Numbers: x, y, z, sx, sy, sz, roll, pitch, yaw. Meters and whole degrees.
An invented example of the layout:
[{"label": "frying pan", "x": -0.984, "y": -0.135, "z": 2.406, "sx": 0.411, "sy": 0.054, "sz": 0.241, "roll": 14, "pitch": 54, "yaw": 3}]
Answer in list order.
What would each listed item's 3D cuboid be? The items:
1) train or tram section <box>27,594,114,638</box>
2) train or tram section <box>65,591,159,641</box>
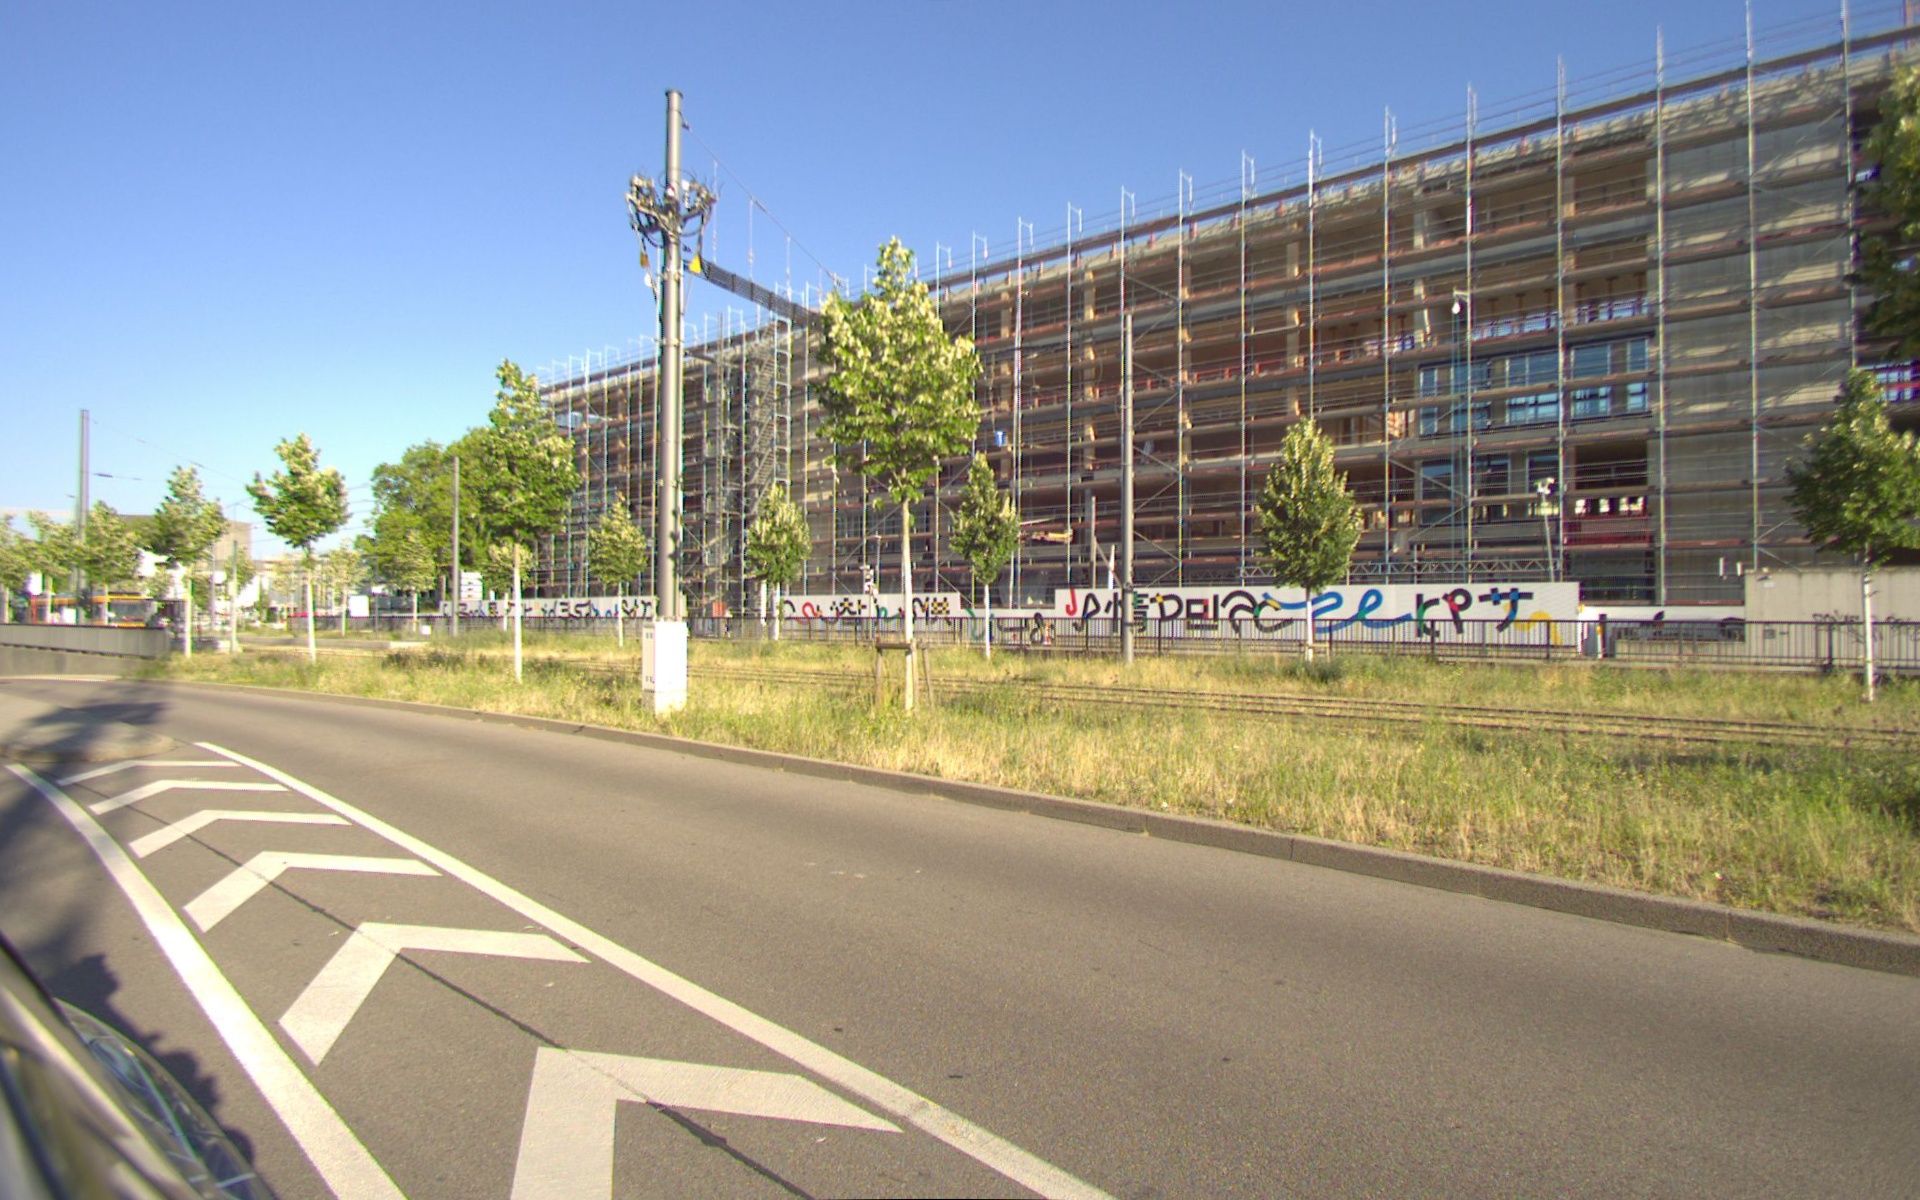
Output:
[{"label": "train or tram section", "x": -73.176, "y": 1.290, "z": 83.107, "sx": 14.749, "sy": 3.423, "sz": 2.917, "roll": -1, "pitch": 0, "yaw": 39}, {"label": "train or tram section", "x": -62.537, "y": 1.138, "z": 74.475, "sx": 12.619, "sy": 3.423, "sz": 2.917, "roll": -1, "pitch": 0, "yaw": 39}]
